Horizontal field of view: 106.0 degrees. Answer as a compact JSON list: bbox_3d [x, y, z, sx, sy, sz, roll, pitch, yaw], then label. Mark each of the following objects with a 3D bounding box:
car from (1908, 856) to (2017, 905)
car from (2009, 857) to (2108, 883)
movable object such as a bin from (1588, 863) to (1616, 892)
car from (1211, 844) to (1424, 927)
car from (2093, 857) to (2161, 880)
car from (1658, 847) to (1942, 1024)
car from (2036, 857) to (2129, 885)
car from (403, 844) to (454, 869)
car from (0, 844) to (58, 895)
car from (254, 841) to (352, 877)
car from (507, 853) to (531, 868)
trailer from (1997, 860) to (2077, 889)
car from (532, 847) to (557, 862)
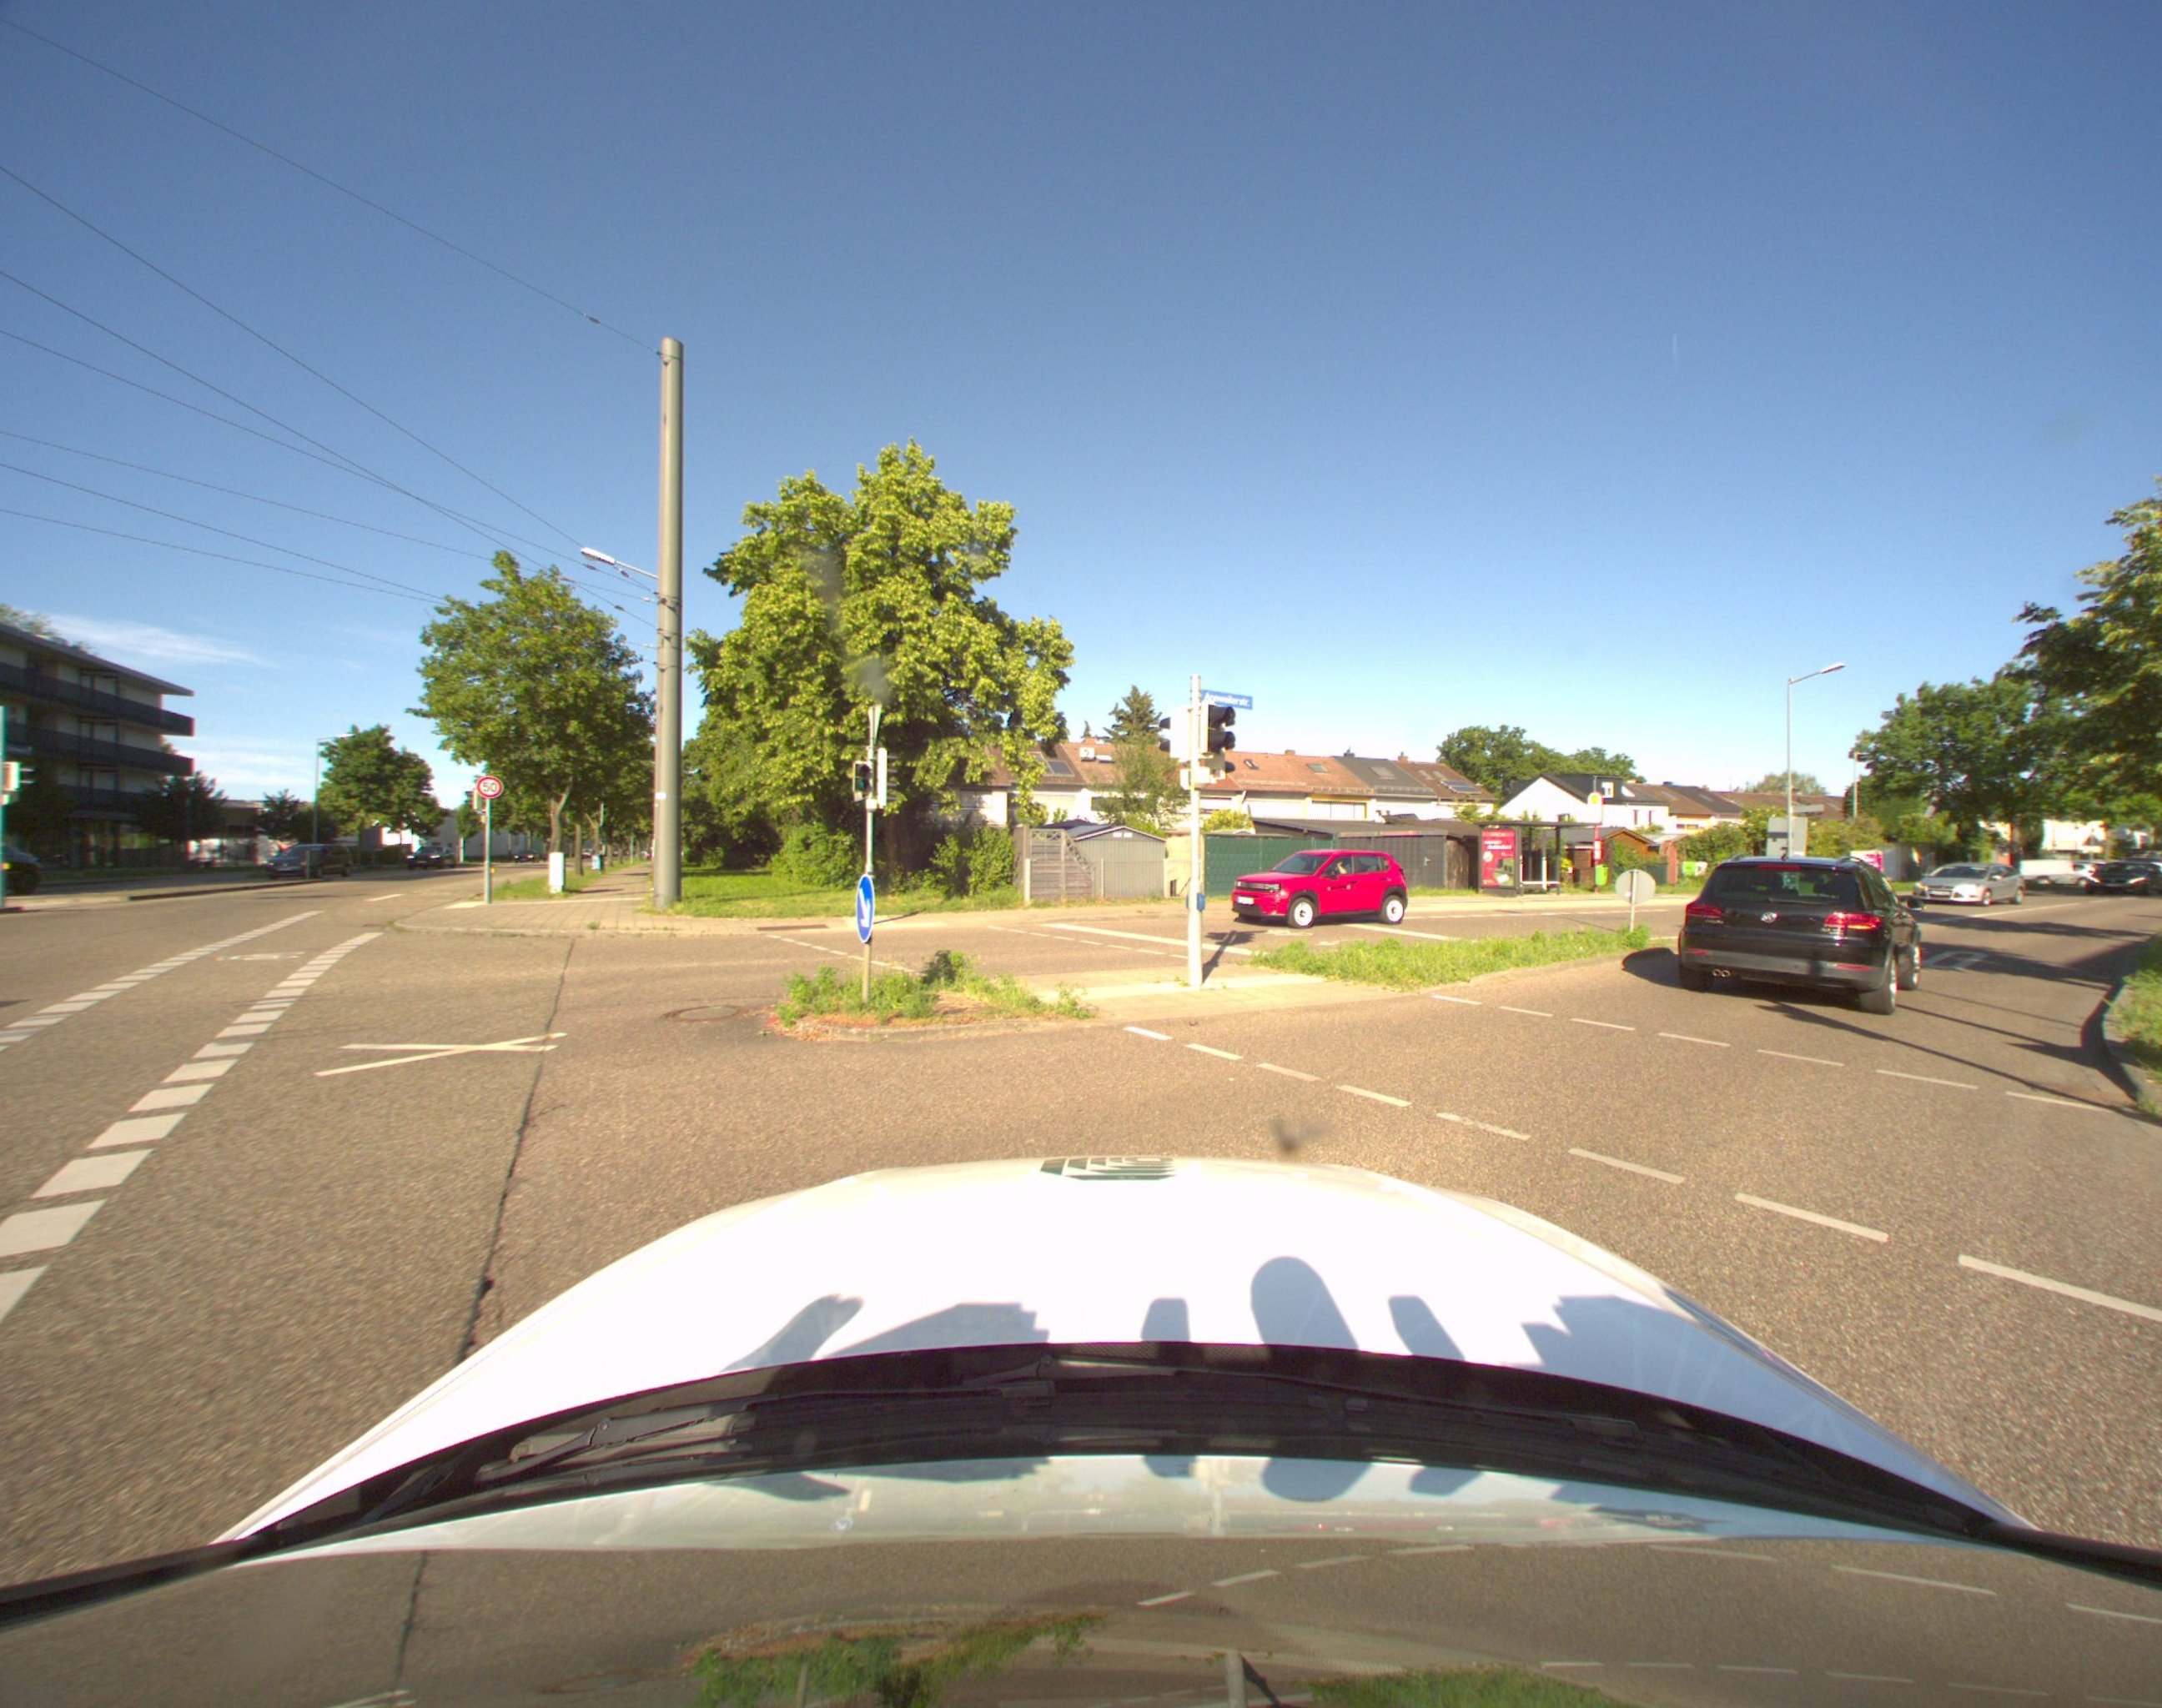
[{"bbox_3d":[31.579,0.893,29.155,4.555,1.591,2.192,1,0,-37],"label":"car"},{"bbox_3d":[58.382,0.948,48.697,1.814,1.477,3.527,0,0,-30],"label":"car"},{"bbox_3d":[18.174,0.806,28.409,0.559,0.967,0.590,0,4,-26],"label":"movable object such as a bin"},{"bbox_3d":[5.058,0.614,17.402,4.188,1.588,1.930,0,0,-26],"label":"car"},{"bbox_3d":[78.412,1.038,60.406,2.005,1.640,3.963,0,0,-29],"label":"car"},{"bbox_3d":[9.000,0.785,10.053,4.537,1.654,1.913,0,2,-40],"label":"car"},{"bbox_3d":[61.203,1.026,49.799,1.860,1.613,3.522,0,0,-36],"label":"car"},{"bbox_3d":[-47.473,0.172,59.371,2.005,1.737,5.152,0,0,-28],"label":"car"},{"bbox_3d":[-33.494,0.457,24.305,1.978,1.534,4.697,0,0,-28],"label":"car"},{"bbox_3d":[-36.521,0.214,38.383,2.002,1.571,3.970,0,0,-22],"label":"car"},{"bbox_3d":[-60.659,0.690,87.990,1.688,1.534,3.964,0,0,-28],"label":"car"},{"bbox_3d":[56.375,1.191,48.065,1.402,1.656,2.945,0,0,-34],"label":"trailer"},{"bbox_3d":[-66.394,0.098,100.769,1.904,1.758,3.967,2,-1,-25],"label":"car"}]
